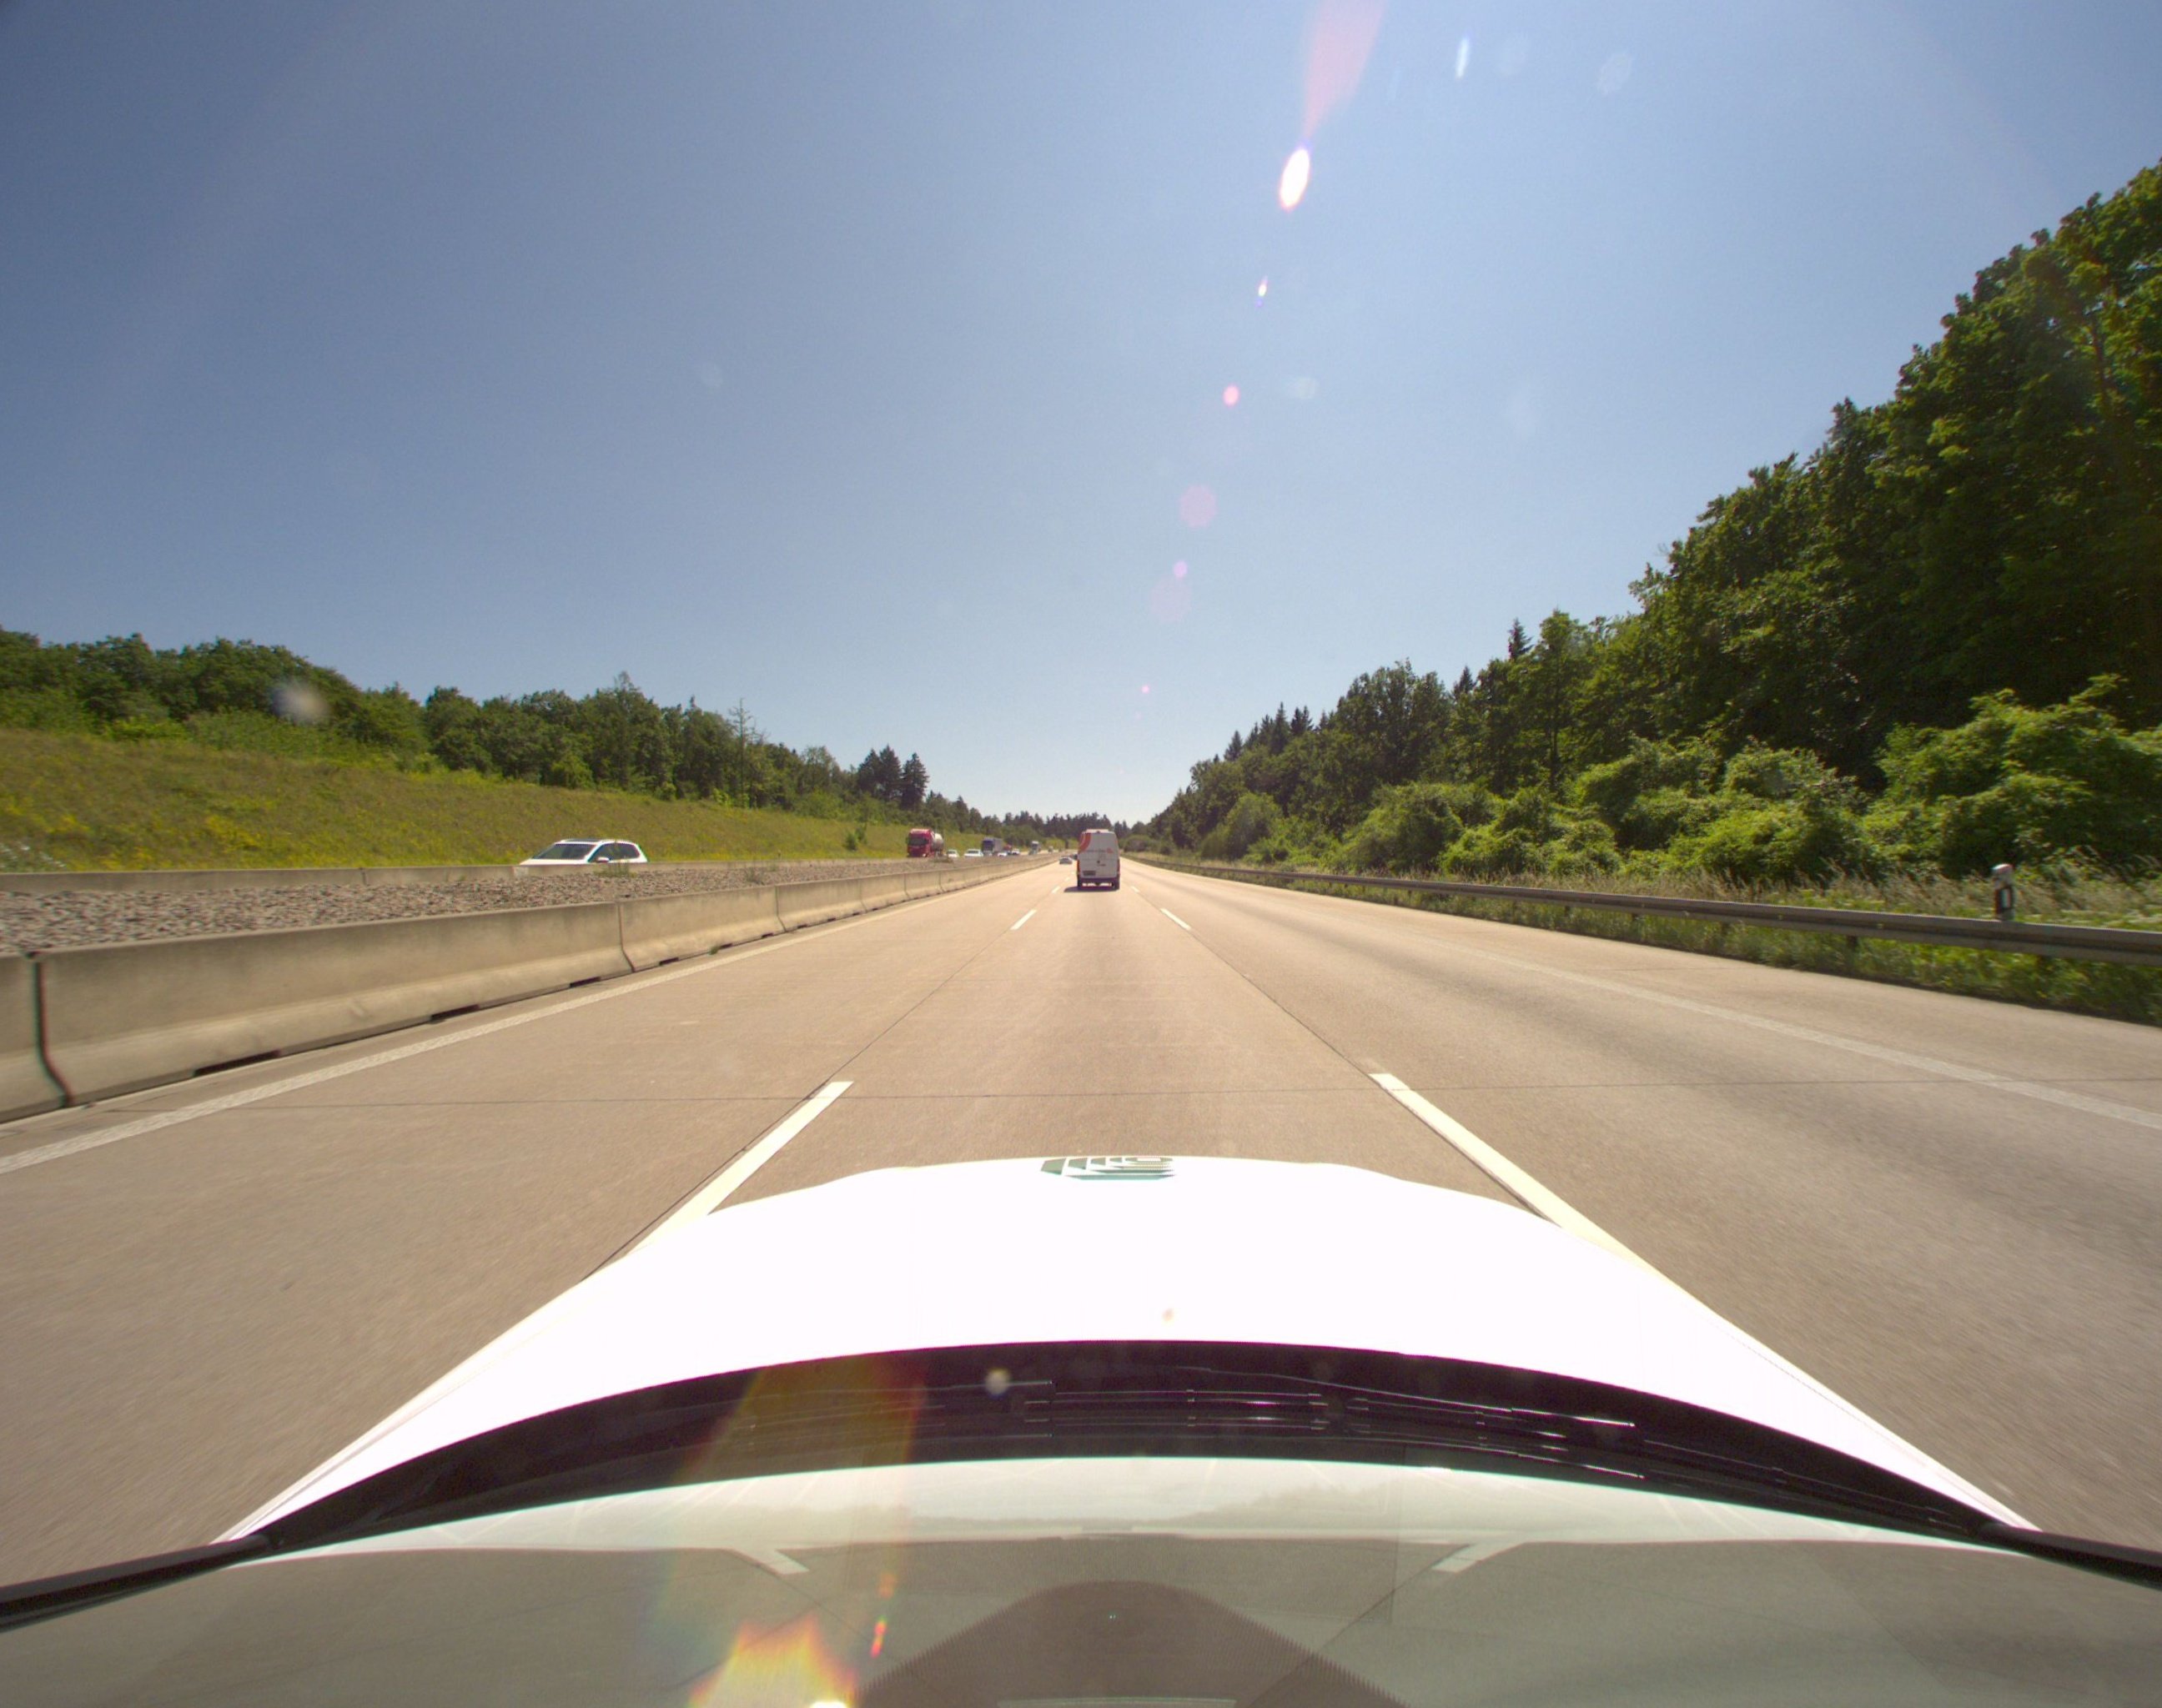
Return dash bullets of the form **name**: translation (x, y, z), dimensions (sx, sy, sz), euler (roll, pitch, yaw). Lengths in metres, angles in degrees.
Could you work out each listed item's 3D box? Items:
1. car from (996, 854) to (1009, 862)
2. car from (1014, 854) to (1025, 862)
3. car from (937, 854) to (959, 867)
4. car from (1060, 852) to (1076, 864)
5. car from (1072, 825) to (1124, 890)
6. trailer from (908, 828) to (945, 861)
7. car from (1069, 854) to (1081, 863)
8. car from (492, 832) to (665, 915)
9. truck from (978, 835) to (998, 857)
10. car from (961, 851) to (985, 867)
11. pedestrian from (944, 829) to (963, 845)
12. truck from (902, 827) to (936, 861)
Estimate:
- **car**: translation (-15.343, 0.747, 160.041), dimensions (1.986, 1.583, 4.530), euler (1, 0, 1)
- **car**: translation (-14.124, 0.909, 187.217), dimensions (1.986, 1.583, 5.520), euler (1, 0, 1)
- **car**: translation (-16.444, 0.768, 100.804), dimensions (1.986, 1.583, 4.180), euler (1, 0, 1)
- **car**: translation (-1.979, 0.648, 122.366), dimensions (1.984, 1.684, 4.005), euler (1, 0, 5)
- **car**: translation (0.779, 0.132, 38.628), dimensions (2.219, 2.844, 5.454), euler (1, 0, 0)
- **trailer**: translation (-20.357, -1.156, 107.720), dimensions (2.923, 4.169, 9.336), euler (1, 0, 1)
- **car**: translation (-1.198, 0.870, 165.908), dimensions (1.984, 1.684, 4.005), euler (1, 0, 5)
- **car**: translation (-13.678, 0.498, 22.555), dimensions (1.987, 2.013, 4.459), euler (-1, 0, 0)
- **truck**: translation (-19.497, -1.685, 171.408), dimensions (3.246, 4.504, 6.573), euler (1, 0, 0)
- **car**: translation (-12.629, 0.566, 95.613), dimensions (1.986, 1.873, 4.969), euler (1, 0, 1)
- **pedestrian**: translation (-17.787, -2.338, 113.849), dimensions (1.987, 2.014, 4.000), euler (1, 0, 1)
- **truck**: translation (-20.441, -1.179, 103.046), dimensions (2.923, 4.169, 5.983), euler (1, 0, 1)
